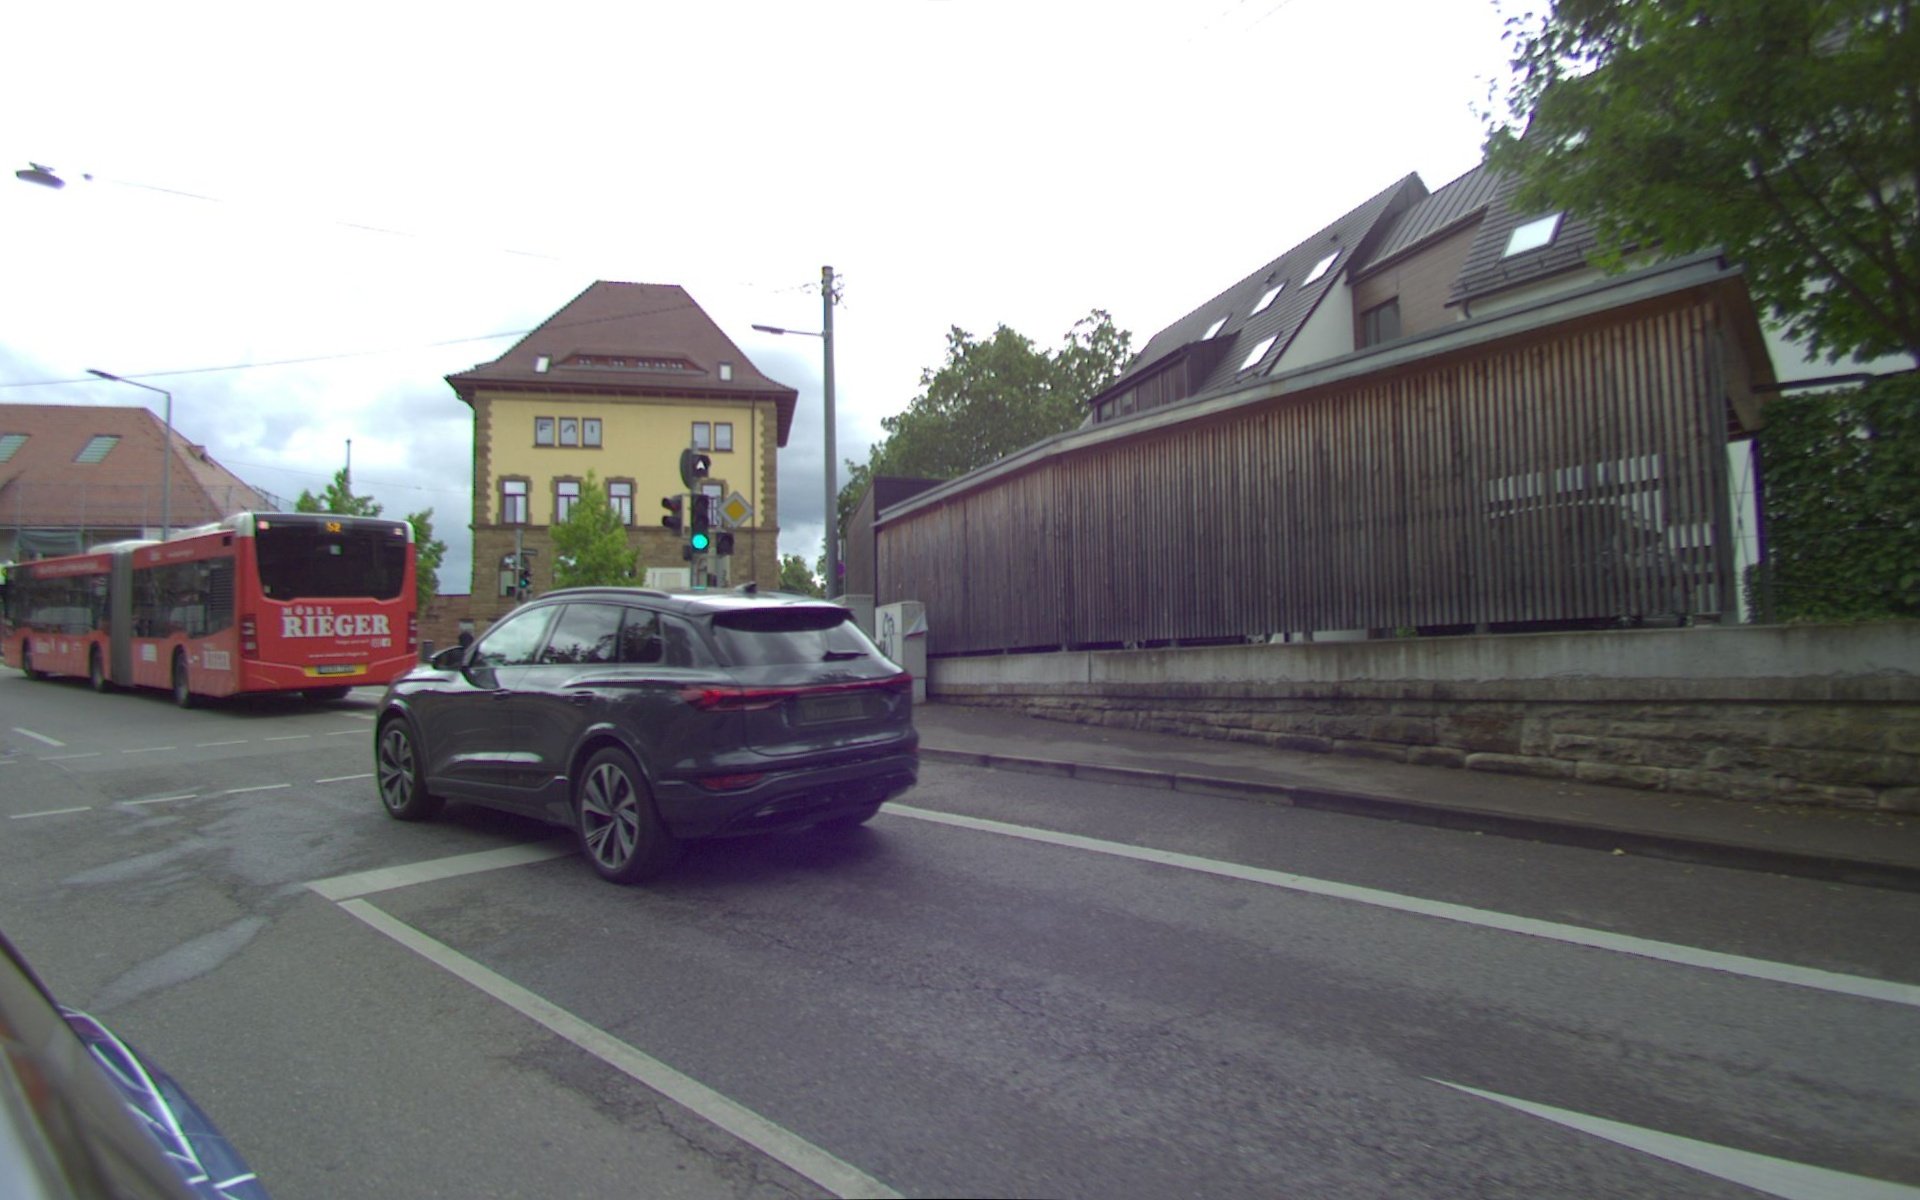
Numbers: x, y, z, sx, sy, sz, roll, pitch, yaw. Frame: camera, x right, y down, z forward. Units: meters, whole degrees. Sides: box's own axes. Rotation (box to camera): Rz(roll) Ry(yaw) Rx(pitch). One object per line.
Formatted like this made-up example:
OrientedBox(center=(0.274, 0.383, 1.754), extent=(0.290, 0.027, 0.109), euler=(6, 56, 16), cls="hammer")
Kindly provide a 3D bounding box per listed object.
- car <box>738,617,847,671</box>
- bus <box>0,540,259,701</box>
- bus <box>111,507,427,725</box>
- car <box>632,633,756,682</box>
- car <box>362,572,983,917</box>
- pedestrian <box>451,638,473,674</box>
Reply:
OrientedBox(center=(-6.633, 1.799, 40.879), extent=(1.984, 2.029, 5.553), euler=(0, -3, 18), cls="car")
OrientedBox(center=(-19.970, 0.507, 23.947), extent=(10.002, 3.145, 2.633), euler=(-1, -1, 37), cls="bus")
OrientedBox(center=(-12.742, 0.316, 18.270), extent=(8.286, 3.145, 2.630), euler=(-2, -1, 40), cls="bus")
OrientedBox(center=(-8.869, 1.945, 34.157), extent=(1.985, 1.524, 4.245), euler=(0, -3, 20), cls="car")
OrientedBox(center=(-2.199, 0.712, 7.000), extent=(4.518, 1.642, 1.903), euler=(-1, -1, 39), cls="car")
OrientedBox(center=(-22.379, 2.526, 45.454), extent=(0.644, 1.589, 0.539), euler=(1, -3, 3), cls="pedestrian")
